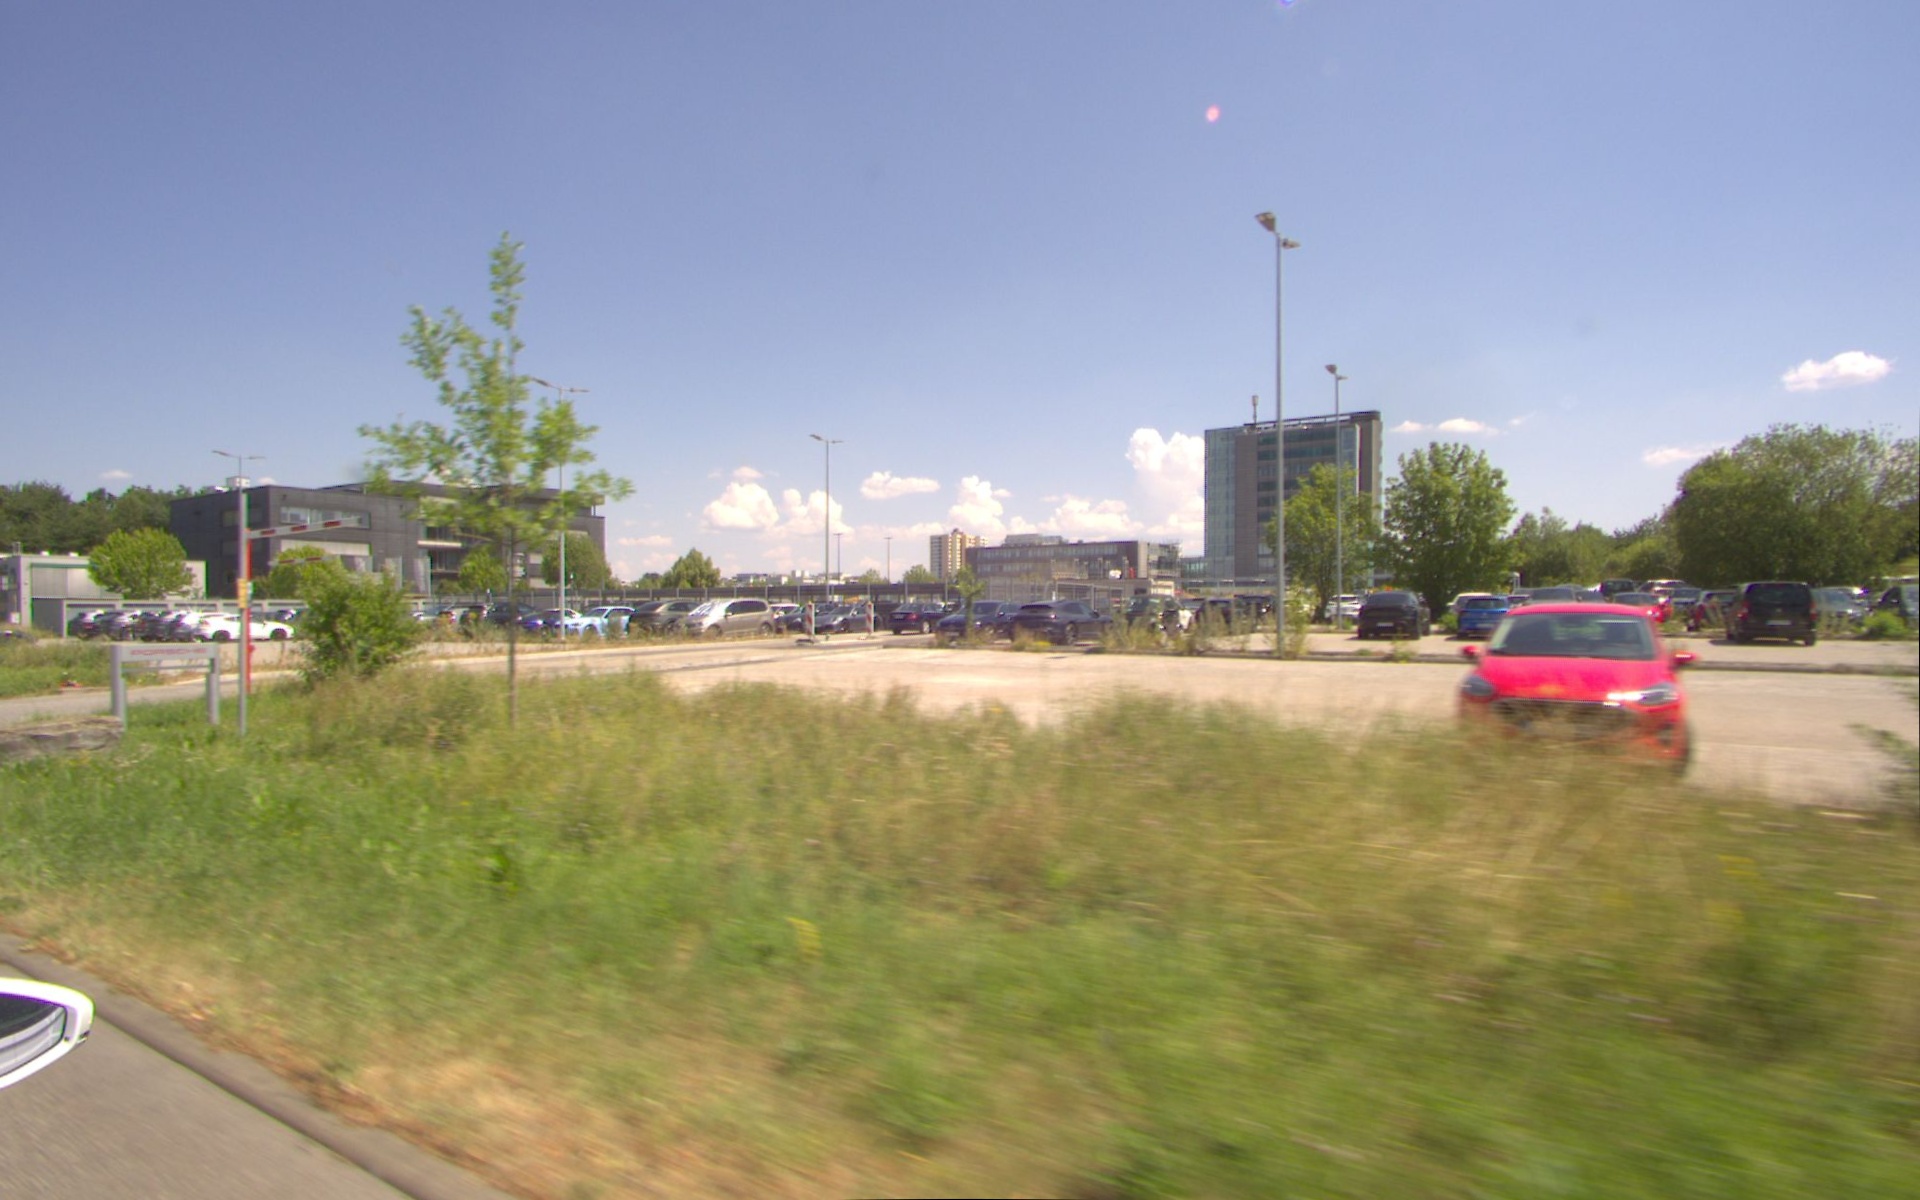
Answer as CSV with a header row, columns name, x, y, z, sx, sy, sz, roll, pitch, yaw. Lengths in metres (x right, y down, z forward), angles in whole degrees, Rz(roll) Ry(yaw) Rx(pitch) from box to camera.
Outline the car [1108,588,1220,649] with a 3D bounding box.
name,x,y,z,sx,sy,sz,roll,pitch,yaw
car,6.076,0.518,29.508,1.900,1.663,3.977,-1,0,33

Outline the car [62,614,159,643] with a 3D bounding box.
name,x,y,z,sx,sy,sz,roll,pitch,yaw
car,-49.776,1.643,58.730,1.741,1.420,3.980,3,3,29

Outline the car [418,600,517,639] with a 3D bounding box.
name,x,y,z,sx,sy,sz,roll,pitch,yaw
car,-23.554,0.908,48.044,1.741,1.618,3.980,3,3,29

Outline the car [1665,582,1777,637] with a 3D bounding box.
name,x,y,z,sx,sy,sz,roll,pitch,yaw
car,26.326,0.271,34.791,1.965,1.663,3.989,3,3,21

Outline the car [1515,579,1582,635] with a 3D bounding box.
name,x,y,z,sx,sy,sz,roll,pitch,yaw
car,22.287,0.206,38.048,1.969,1.908,3.981,3,3,29

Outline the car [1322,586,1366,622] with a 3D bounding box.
name,x,y,z,sx,sy,sz,roll,pitch,yaw
car,19.914,0.189,51.976,1.965,1.663,3.989,3,3,21

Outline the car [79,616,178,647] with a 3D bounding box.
name,x,y,z,sx,sy,sz,roll,pitch,yaw
car,-47.138,1.753,56.844,1.741,1.420,3.980,3,3,29

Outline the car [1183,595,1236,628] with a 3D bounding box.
name,x,y,z,sx,sy,sz,roll,pitch,yaw
car,14.293,0.612,57.176,1.768,1.663,3.978,3,3,32

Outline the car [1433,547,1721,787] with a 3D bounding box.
name,x,y,z,sx,sy,sz,roll,pitch,yaw
car,5.798,0.490,9.467,1.900,1.746,3.977,-1,0,33

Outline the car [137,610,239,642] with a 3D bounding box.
name,x,y,z,sx,sy,sz,roll,pitch,yaw
car,-41.319,1.361,53.710,1.741,1.482,3.980,3,3,29

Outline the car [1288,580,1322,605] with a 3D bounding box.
name,x,y,z,sx,sy,sz,roll,pitch,yaw
car,30.114,-0.664,87.416,1.970,2.042,3.979,3,3,31

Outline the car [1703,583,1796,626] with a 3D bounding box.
name,x,y,z,sx,sy,sz,roll,pitch,yaw
car,34.101,0.147,43.403,1.965,1.663,3.989,3,3,21

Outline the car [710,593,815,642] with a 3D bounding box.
name,x,y,z,sx,sy,sz,roll,pitch,yaw
car,-7.405,0.618,37.875,1.741,1.618,3.980,3,3,29

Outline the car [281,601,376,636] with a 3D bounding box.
name,x,y,z,sx,sy,sz,roll,pitch,yaw
car,-33.734,0.946,53.619,1.741,1.618,3.980,3,3,29

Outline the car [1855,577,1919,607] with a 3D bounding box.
name,x,y,z,sx,sy,sz,roll,pitch,yaw
car,51.373,-0.451,54.310,3.922,1.550,1.875,-1,1,0

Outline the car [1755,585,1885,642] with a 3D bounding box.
name,x,y,z,sx,sy,sz,roll,pitch,yaw
car,28.553,0.389,33.416,1.965,1.663,3.989,3,3,21

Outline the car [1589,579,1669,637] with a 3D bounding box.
name,x,y,z,sx,sy,sz,roll,pitch,yaw
car,24.324,0.216,36.540,1.969,1.908,3.981,3,3,29

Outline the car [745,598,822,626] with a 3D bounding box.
name,x,y,z,sx,sy,sz,roll,pitch,yaw
car,-8.911,0.566,50.795,1.704,1.209,3.981,3,3,29

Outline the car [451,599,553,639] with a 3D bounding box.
name,x,y,z,sx,sy,sz,roll,pitch,yaw
car,-21.169,0.818,46.419,1.832,1.618,3.980,3,3,29

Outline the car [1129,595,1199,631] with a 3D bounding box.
name,x,y,z,sx,sy,sz,roll,pitch,yaw
car,8.264,0.512,40.370,1.670,1.359,3.982,-1,0,28

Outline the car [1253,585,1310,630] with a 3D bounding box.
name,x,y,z,sx,sy,sz,roll,pitch,yaw
car,13.355,0.268,41.447,1.965,1.663,3.989,3,3,21

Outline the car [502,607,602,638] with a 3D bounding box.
name,x,y,z,sx,sy,sz,roll,pitch,yaw
car,-18.318,0.994,45.160,1.741,1.124,3.980,3,3,29

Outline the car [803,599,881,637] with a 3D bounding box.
name,x,y,z,sx,sy,sz,roll,pitch,yaw
car,-5.719,0.828,48.834,1.741,1.618,3.980,3,3,29

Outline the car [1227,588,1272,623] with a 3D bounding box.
name,x,y,z,sx,sy,sz,roll,pitch,yaw
car,15.694,0.250,54.133,1.965,1.663,3.989,3,3,21

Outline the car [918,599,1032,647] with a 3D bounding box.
name,x,y,z,sx,sy,sz,roll,pitch,yaw
car,0.549,0.718,32.677,1.900,1.414,3.977,-1,0,33

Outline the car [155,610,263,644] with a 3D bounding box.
name,x,y,z,sx,sy,sz,roll,pitch,yaw
car,-37.436,1.307,50.015,1.741,1.420,3.980,3,3,29

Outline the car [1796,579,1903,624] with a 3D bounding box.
name,x,y,z,sx,sy,sz,roll,pitch,yaw
car,36.987,0.012,41.769,1.965,1.663,3.989,3,3,21

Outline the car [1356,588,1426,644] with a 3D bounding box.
name,x,y,z,sx,sy,sz,roll,pitch,yaw
car,14.765,0.493,34.491,1.965,1.663,3.989,3,3,21

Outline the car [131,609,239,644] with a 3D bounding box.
name,x,y,z,sx,sy,sz,roll,pitch,yaw
car,-39.390,1.323,50.993,1.741,1.511,3.980,3,3,29

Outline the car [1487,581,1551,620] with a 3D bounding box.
name,x,y,z,sx,sy,sz,roll,pitch,yaw
car,26.268,-0.035,47.185,1.965,1.663,3.989,3,3,21

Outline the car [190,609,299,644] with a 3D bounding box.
name,x,y,z,sx,sy,sz,roll,pitch,yaw
car,-34.824,1.246,48.824,1.742,1.420,3.979,3,3,31

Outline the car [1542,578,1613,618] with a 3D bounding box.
name,x,y,z,sx,sy,sz,roll,pitch,yaw
car,28.313,-0.120,46.018,1.965,1.663,3.989,3,3,21

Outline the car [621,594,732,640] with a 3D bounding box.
name,x,y,z,sx,sy,sz,roll,pitch,yaw
car,-11.389,0.645,40.533,1.741,1.618,4.359,3,3,29

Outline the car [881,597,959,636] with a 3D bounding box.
name,x,y,z,sx,sy,sz,roll,pitch,yaw
car,-1.798,0.725,46.430,1.741,1.618,3.980,3,3,29

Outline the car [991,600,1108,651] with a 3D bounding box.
name,x,y,z,sx,sy,sz,roll,pitch,yaw
car,2.786,0.725,30.460,1.900,1.414,3.977,-1,0,33

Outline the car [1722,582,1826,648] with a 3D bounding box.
name,x,y,z,sx,sy,sz,roll,pitch,yaw
car,23.706,0.378,29.305,1.731,1.782,3.980,1,2,30

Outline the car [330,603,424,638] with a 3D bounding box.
name,x,y,z,sx,sy,sz,roll,pitch,yaw
car,-30.803,1.068,53.005,1.741,1.618,3.980,3,3,29

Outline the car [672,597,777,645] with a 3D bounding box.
name,x,y,z,sx,sy,sz,roll,pitch,yaw
car,-9.106,0.776,38.944,1.741,1.618,3.980,3,3,29

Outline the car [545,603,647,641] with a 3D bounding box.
name,x,y,z,sx,sy,sz,roll,pitch,yaw
car,-15.595,0.904,43.106,1.741,1.412,3.980,3,3,29

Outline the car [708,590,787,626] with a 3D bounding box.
name,x,y,z,sx,sy,sz,roll,pitch,yaw
car,-11.080,0.379,52.455,1.969,1.707,3.981,3,3,29

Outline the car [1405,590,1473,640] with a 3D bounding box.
name,x,y,z,sx,sy,sz,roll,pitch,yaw
car,18.316,0.523,38.470,1.965,1.663,3.989,3,3,21

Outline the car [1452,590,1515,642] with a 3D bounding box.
name,x,y,z,sx,sy,sz,roll,pitch,yaw
car,17.438,0.481,33.338,1.707,1.484,3.791,3,3,29

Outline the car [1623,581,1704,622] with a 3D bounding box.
name,x,y,z,sx,sy,sz,roll,pitch,yaw
car,31.358,0.015,44.781,1.965,1.663,3.989,3,3,21

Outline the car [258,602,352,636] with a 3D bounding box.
name,x,y,z,sx,sy,sz,roll,pitch,yaw
car,-35.995,0.999,55.152,1.741,1.618,3.980,3,3,29

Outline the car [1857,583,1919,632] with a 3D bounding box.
name,x,y,z,sx,sy,sz,roll,pitch,yaw
car,30.568,0.241,31.796,1.691,1.440,3.989,3,3,21

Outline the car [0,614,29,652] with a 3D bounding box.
name,x,y,z,sx,sy,sz,roll,pitch,yaw
car,-40.521,1.377,39.945,1.895,1.420,4.689,3,3,35

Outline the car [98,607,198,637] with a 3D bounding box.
name,x,y,z,sx,sy,sz,roll,pitch,yaw
car,-45.008,1.208,55.588,1.741,1.420,3.980,3,3,29
